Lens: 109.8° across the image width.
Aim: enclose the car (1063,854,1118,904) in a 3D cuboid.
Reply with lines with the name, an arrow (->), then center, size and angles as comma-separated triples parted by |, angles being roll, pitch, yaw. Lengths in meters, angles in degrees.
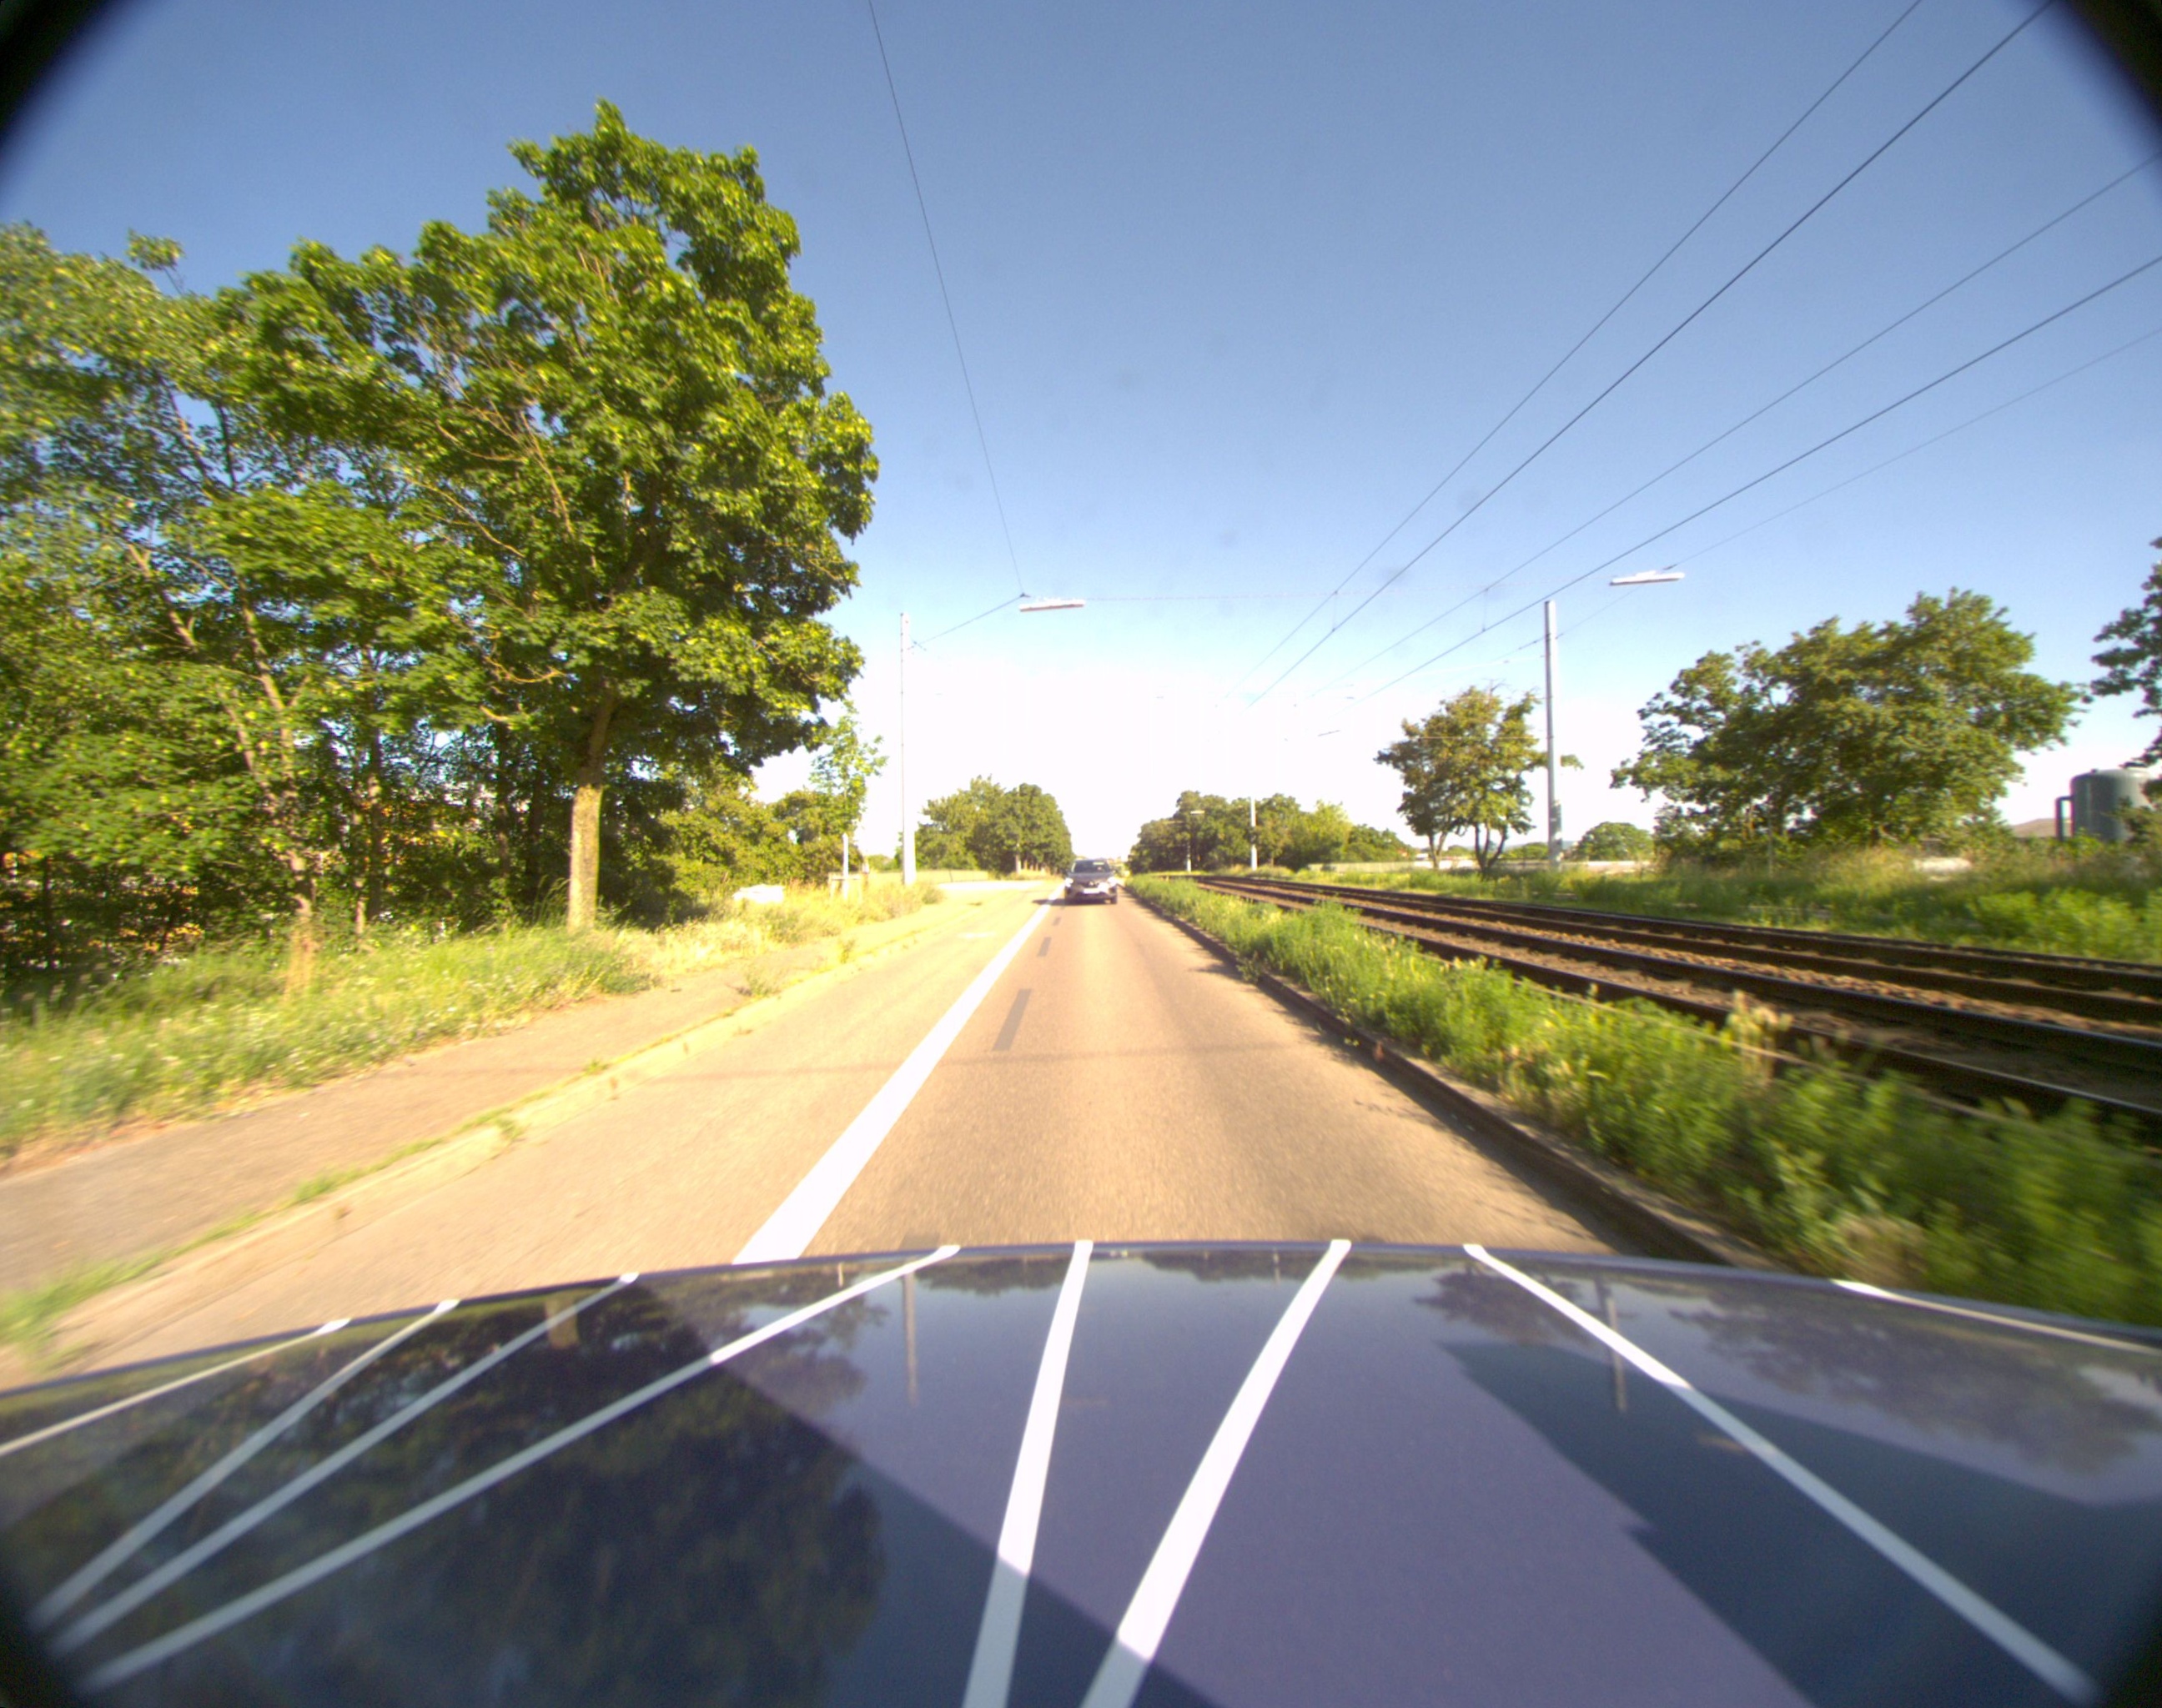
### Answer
car -> 0.352, 0.889, 27.615 | 1.814, 1.625, 4.711 | -1, -1, 1
